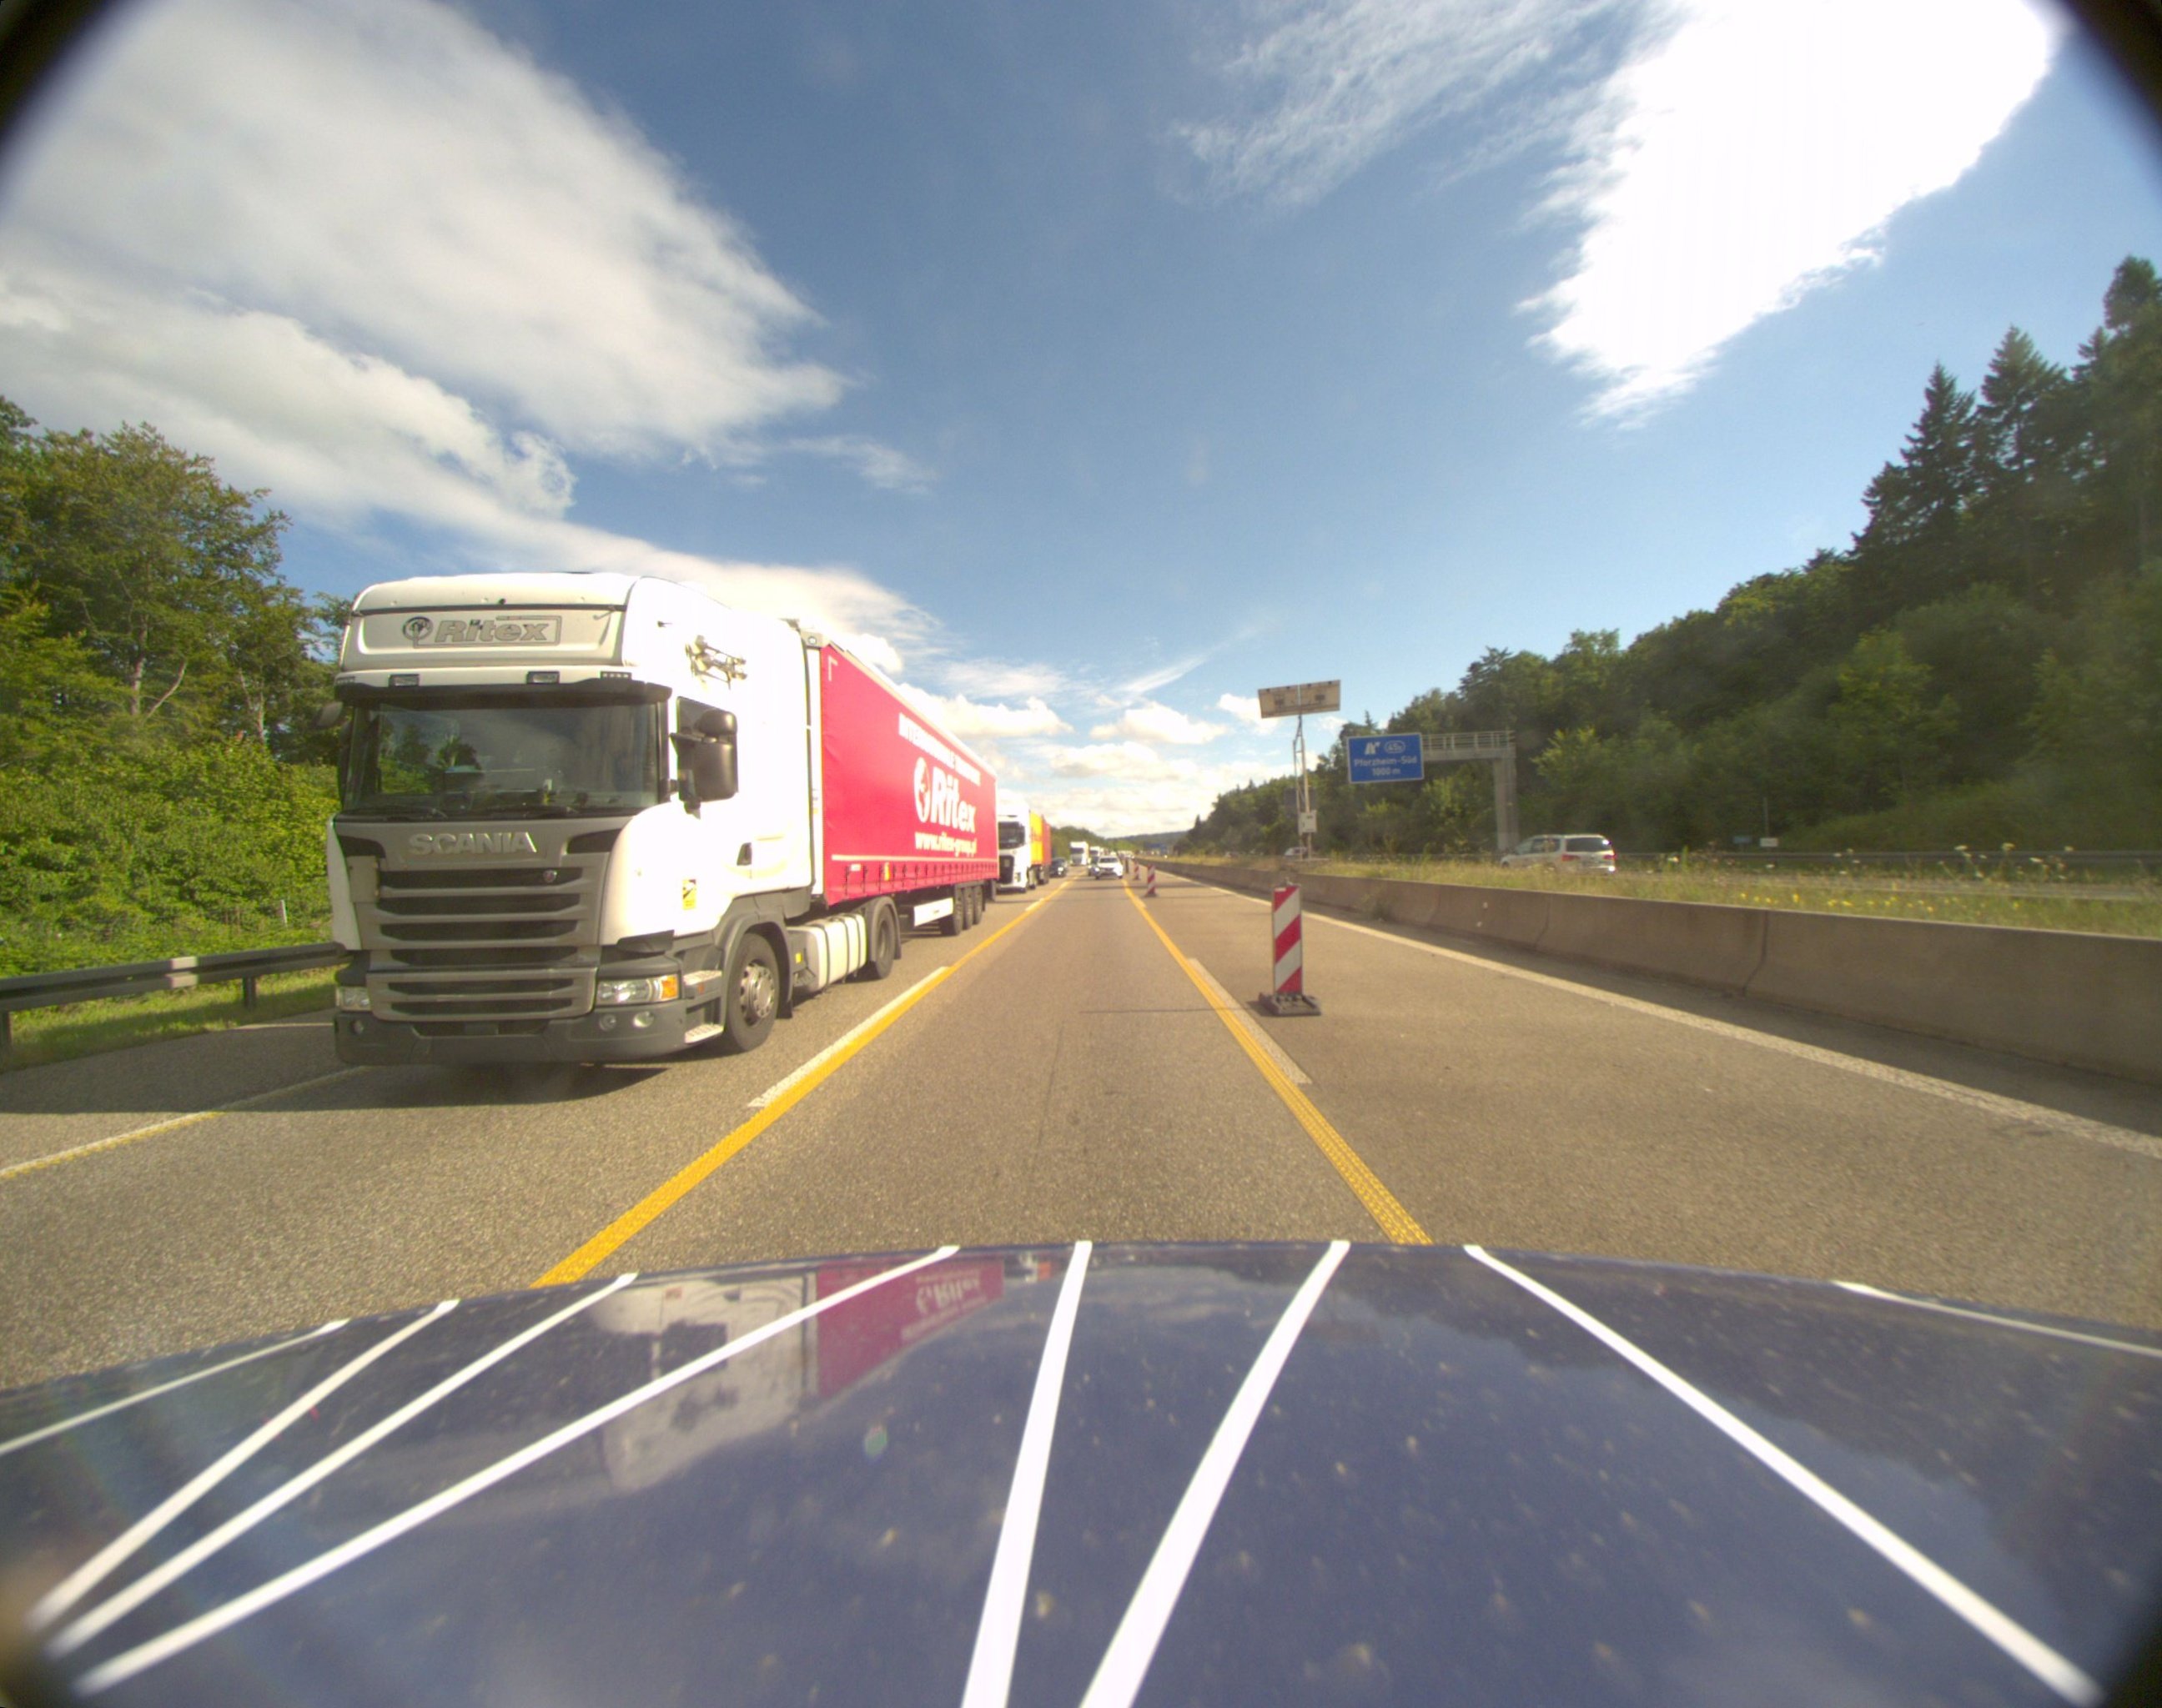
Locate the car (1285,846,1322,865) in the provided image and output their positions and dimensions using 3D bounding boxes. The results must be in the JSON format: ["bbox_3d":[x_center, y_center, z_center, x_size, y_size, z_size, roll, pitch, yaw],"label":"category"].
[{"bbox_3d":[16.992,0.080,58.174,1.665,1.379,3.912,-2,1,1],"label":"car"}]

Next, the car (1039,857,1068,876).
[{"bbox_3d":[-2.154,0.930,59.945,1.933,1.342,4.478,-2,0,2],"label":"car"}]

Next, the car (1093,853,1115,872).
[{"bbox_3d":[1.839,0.657,61.319,1.692,1.471,3.754,-1,1,2],"label":"car"}]

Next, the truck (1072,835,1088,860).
[{"bbox_3d":[-0.169,-1.055,130.157,2.641,4.092,8.194,-2,0,0],"label":"truck"}]

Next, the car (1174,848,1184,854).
[{"bbox_3d":[24.566,-0.785,190.327,1.944,1.455,3.912,-2,1,1],"label":"car"}]

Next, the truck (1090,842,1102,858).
[{"bbox_3d":[3.985,-1.059,201.249,2.640,4.092,8.197,-2,0,4],"label":"truck"}]

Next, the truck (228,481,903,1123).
[{"bbox_3d":[-3.905,-0.322,7.637,2.674,3.936,5.710,-2,0,1],"label":"truck"}]

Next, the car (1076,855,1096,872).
[{"bbox_3d":[0.474,0.856,69.693,1.762,1.471,3.968,-1,1,2],"label":"car"}]

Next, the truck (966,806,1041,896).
[{"bbox_3d":[-3.462,-0.143,35.139,2.500,3.759,5.790,-2,1,2],"label":"truck"}]

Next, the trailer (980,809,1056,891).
[{"bbox_3d":[-3.162,-0.213,41.749,2.477,3.753,12.137,-2,0,3],"label":"trailer"}]

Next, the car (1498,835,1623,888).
[{"bbox_3d":[15.752,0.216,25.211,1.665,1.572,3.912,-2,1,1],"label":"car"}]

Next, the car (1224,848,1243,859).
[{"bbox_3d":[21.694,-0.106,108.467,1.944,1.455,3.912,-2,1,1],"label":"car"}]

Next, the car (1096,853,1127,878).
[{"bbox_3d":[2.040,0.736,51.267,1.840,1.528,3.882,-2,1,-1],"label":"car"}]

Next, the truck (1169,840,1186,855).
[{"bbox_3d":[30.164,-2.170,237.675,3.844,4.350,13.052,-2,1,2],"label":"truck"}]

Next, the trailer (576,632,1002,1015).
[{"bbox_3d":[-3.773,-0.337,14.738,2.706,3.945,13.417,-2,0,1],"label":"trailer"}]
